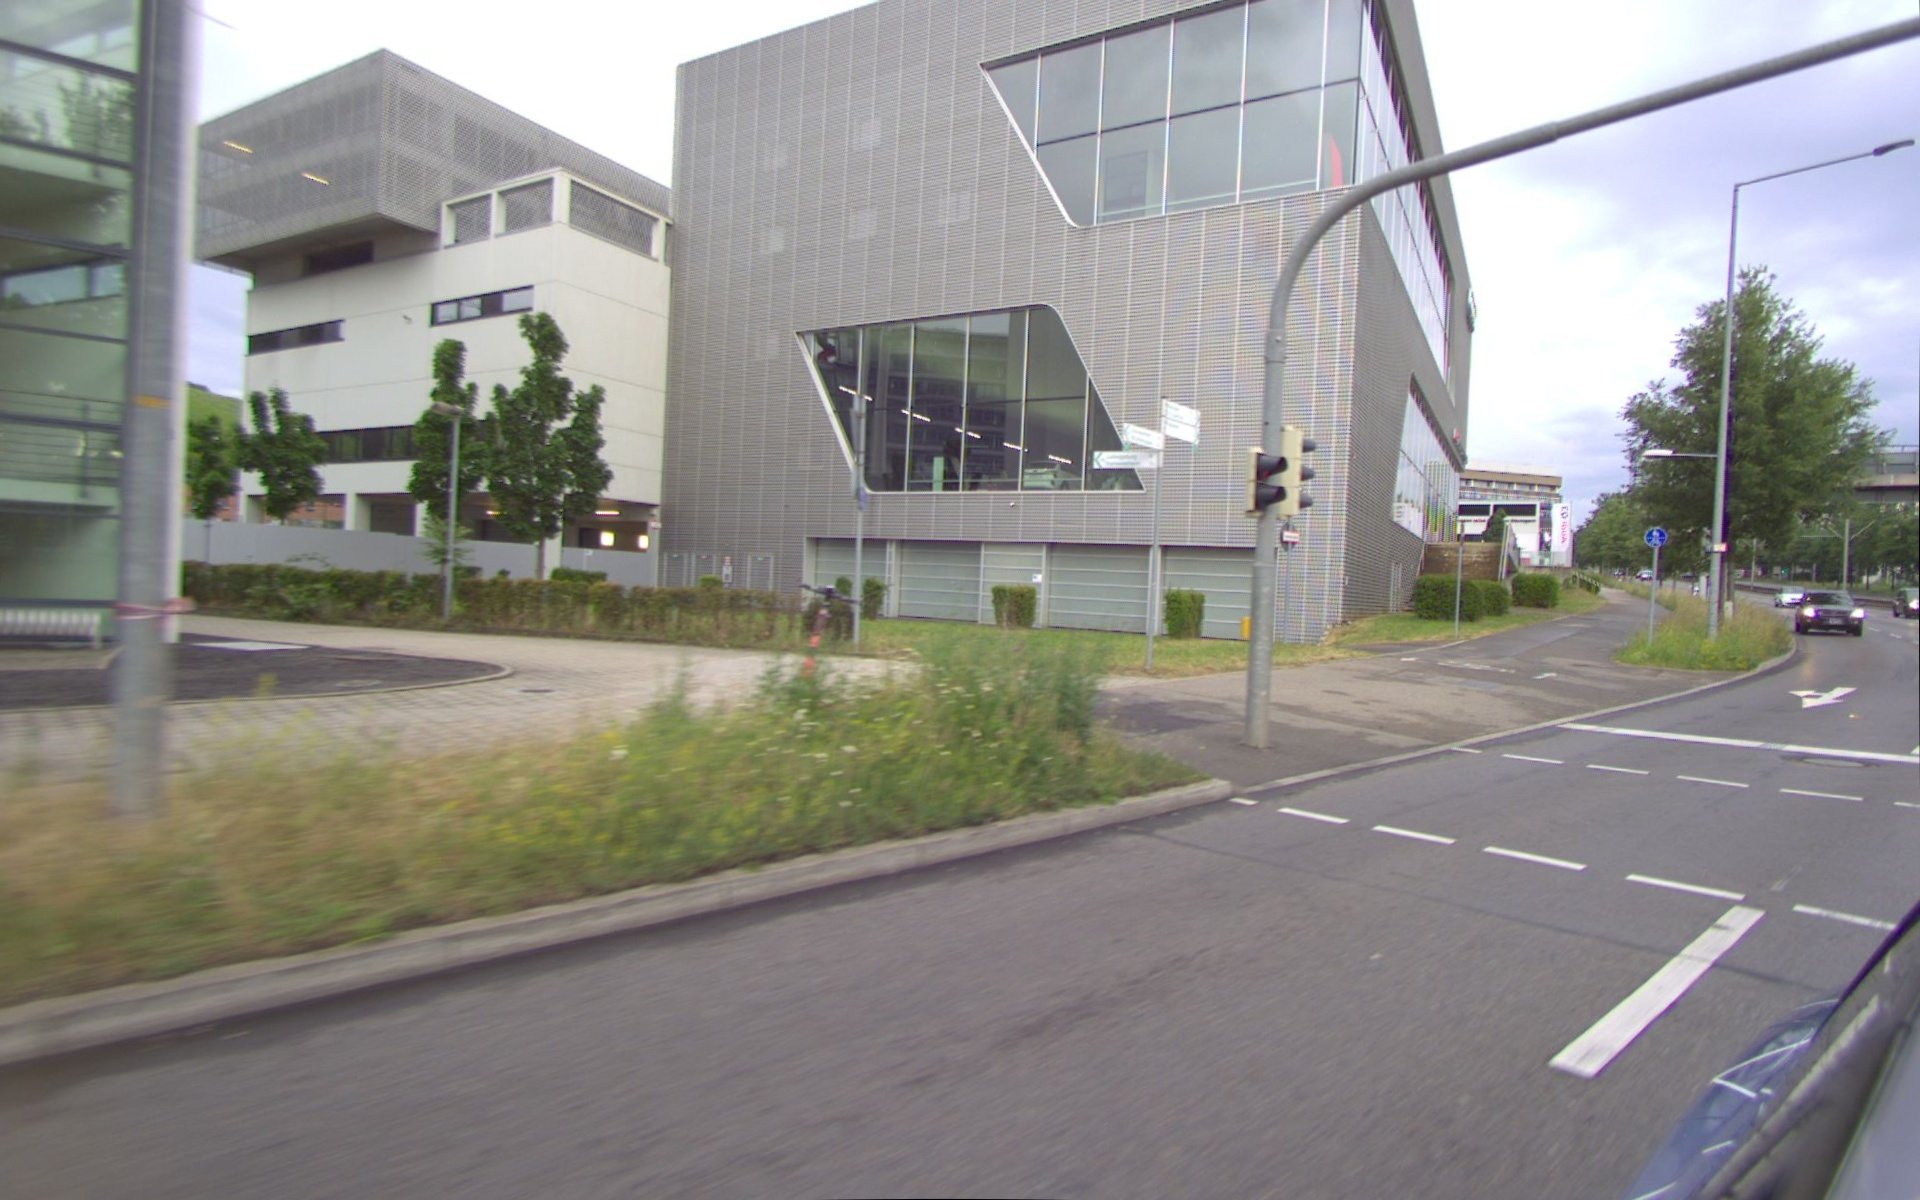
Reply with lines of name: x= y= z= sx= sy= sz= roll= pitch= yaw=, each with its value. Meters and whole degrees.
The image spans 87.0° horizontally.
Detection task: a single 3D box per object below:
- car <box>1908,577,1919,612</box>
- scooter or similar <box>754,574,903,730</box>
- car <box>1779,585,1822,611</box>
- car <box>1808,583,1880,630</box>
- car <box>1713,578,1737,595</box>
car: x=52.327 y=-0.249 z=54.286 sx=1.853 sy=1.832 sz=4.054 roll=1 pitch=1 yaw=40
scooter or similar: x=-1.160 y=0.428 z=9.088 sx=0.457 sy=1.278 sz=1.317 roll=5 pitch=4 yaw=40
car: x=60.983 y=-0.141 z=73.477 sx=1.849 sy=1.703 sz=4.065 roll=3 pitch=2 yaw=33
car: x=33.247 y=0.226 z=38.024 sx=1.824 sy=1.629 sz=4.048 roll=1 pitch=1 yaw=44
car: x=97.103 y=-1.690 z=128.509 sx=1.985 sy=2.038 sz=3.956 roll=1 pitch=3 yaw=32
